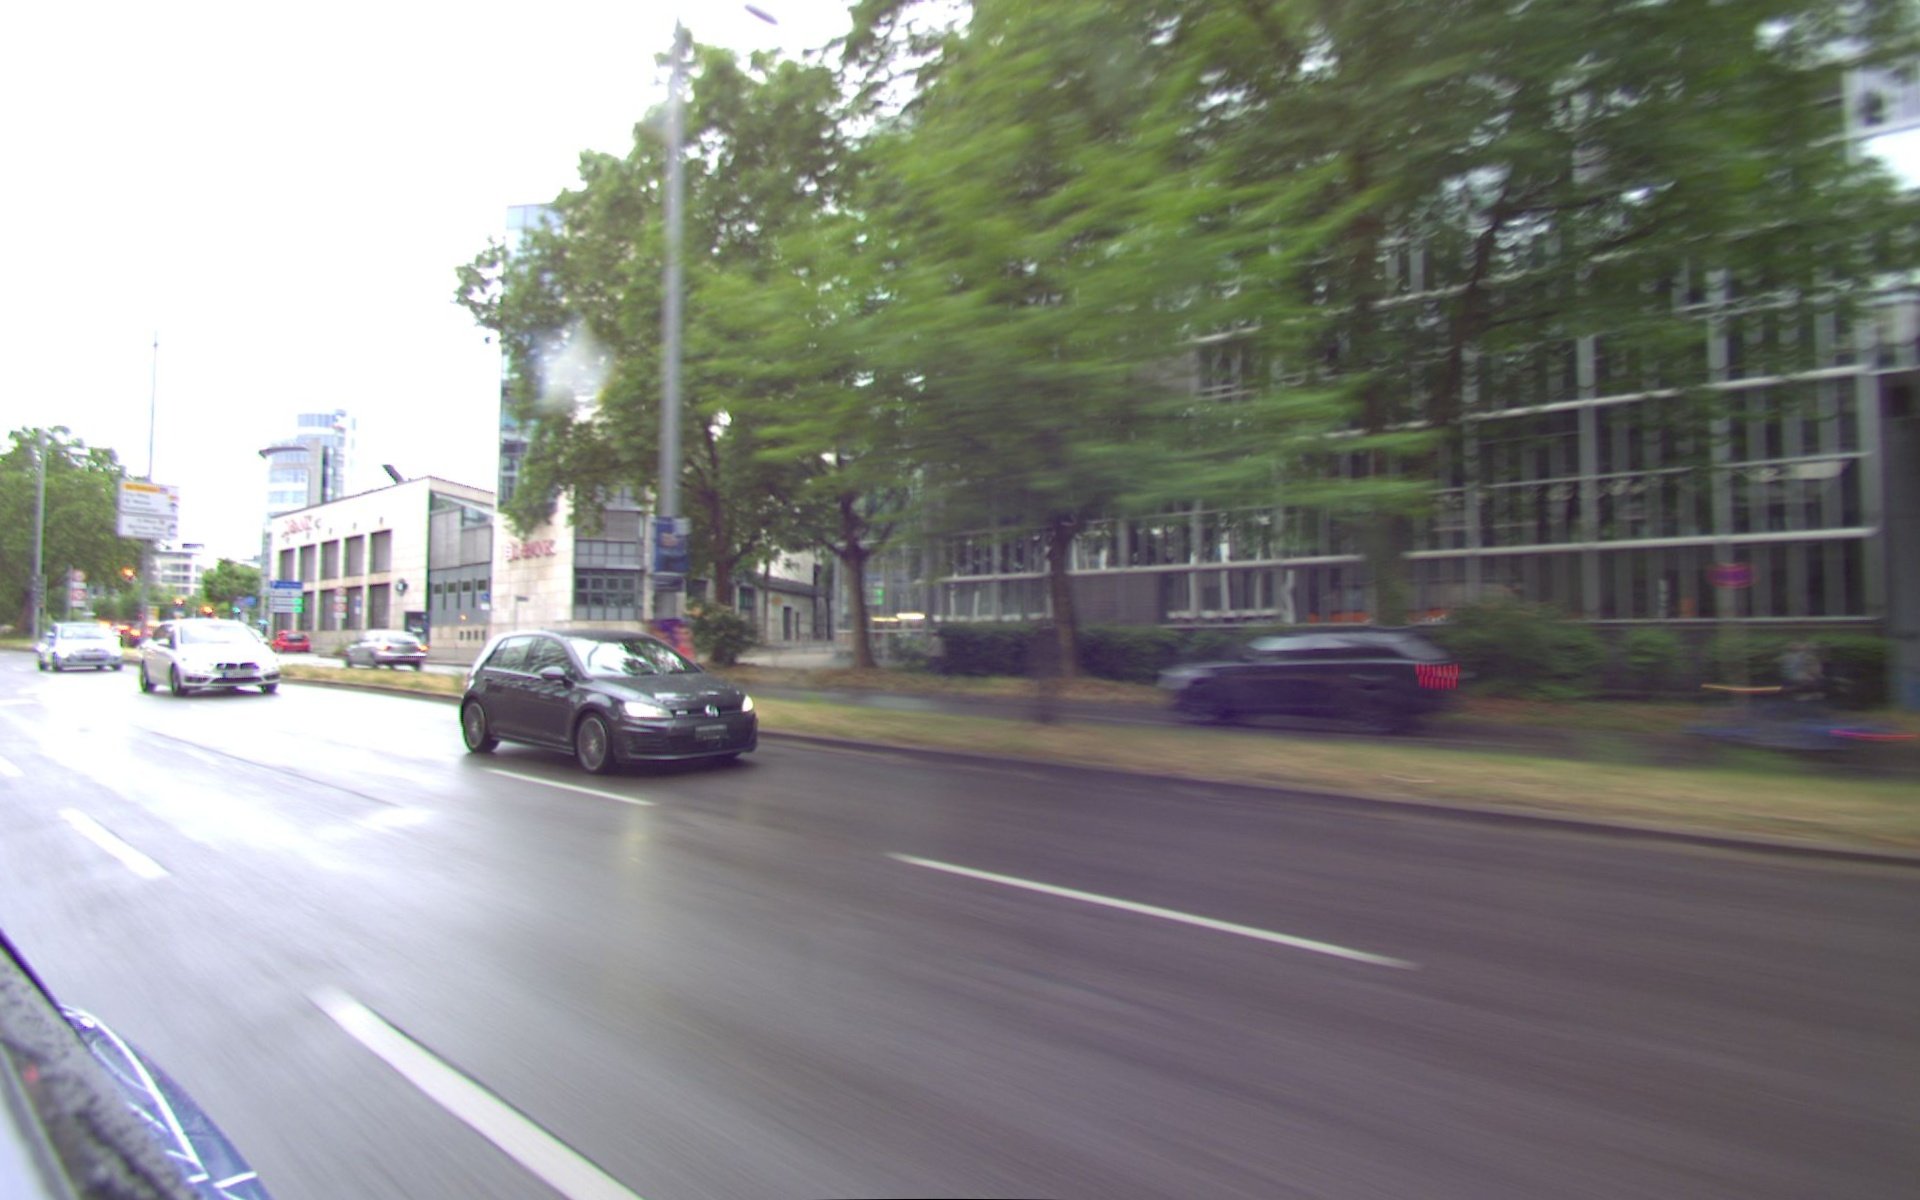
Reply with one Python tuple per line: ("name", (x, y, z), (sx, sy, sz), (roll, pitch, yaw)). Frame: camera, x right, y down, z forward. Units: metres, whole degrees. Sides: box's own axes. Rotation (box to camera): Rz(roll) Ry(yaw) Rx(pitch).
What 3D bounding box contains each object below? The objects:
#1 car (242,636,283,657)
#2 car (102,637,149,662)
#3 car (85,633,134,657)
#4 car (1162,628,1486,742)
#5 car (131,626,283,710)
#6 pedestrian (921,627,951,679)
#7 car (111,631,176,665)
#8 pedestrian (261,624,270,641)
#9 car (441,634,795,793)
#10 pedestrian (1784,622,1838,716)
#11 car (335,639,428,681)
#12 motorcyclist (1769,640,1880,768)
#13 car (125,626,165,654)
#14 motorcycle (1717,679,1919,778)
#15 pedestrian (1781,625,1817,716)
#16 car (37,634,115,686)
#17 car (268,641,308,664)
("car", (-52.317, 3.477, 75.900), (1.727, 1.426, 4.708), (3, -3, -44))
("car", (-48.698, 2.877, 59.040), (4.116, 1.370, 1.579), (-1, -3, 43))
("car", (-54.317, 2.860, 64.603), (4.580, 1.448, 1.682), (-1, -3, 41))
("car", (6.479, 1.477, 18.383), (5.179, 1.782, 1.980), (-1, -6, 39))
("car", (-16.273, 1.396, 21.820), (3.997, 1.608, 1.758), (-1, -2, 41))
("pedestrian", (-0.856, 1.874, 35.756), (0.802, 1.821, 0.727), (-2, -3, 41))
("car", (-43.621, 2.538, 54.025), (4.678, 1.693, 1.854), (-1, -3, 41))
("pedestrian", (-80.423, 3.744, 117.205), (1.125, 1.939, 0.582), (-2, -2, 41))
("car", (-3.903, 1.109, 11.277), (4.116, 1.463, 1.767), (-2, -3, 38))
("pedestrian", (16.843, 1.348, 20.030), (0.759, 1.821, 0.590), (-2, -3, 41))
("car", (-22.071, 2.261, 38.547), (4.076, 1.475, 1.645), (-1, -5, 39))
("motorcyclist", (10.255, 1.202, 12.029), (0.969, 1.429, 0.631), (-1, -3, 41))
("car", (-62.192, 3.058, 77.213), (1.809, 2.017, 5.108), (3, -3, -44))
("motorcycle", (10.202, 1.495, 12.087), (1.804, 1.029, 0.578), (-2, -3, 41))
("pedestrian", (17.147, 1.424, 20.680), (0.511, 1.821, 0.599), (-2, -3, 41))
("car", (-28.007, 1.849, 32.029), (3.495, 1.452, 1.590), (-1, 0, 45))
("car", (-44.237, 3.435, 66.590), (1.574, 1.426, 3.403), (3, -3, -44))
